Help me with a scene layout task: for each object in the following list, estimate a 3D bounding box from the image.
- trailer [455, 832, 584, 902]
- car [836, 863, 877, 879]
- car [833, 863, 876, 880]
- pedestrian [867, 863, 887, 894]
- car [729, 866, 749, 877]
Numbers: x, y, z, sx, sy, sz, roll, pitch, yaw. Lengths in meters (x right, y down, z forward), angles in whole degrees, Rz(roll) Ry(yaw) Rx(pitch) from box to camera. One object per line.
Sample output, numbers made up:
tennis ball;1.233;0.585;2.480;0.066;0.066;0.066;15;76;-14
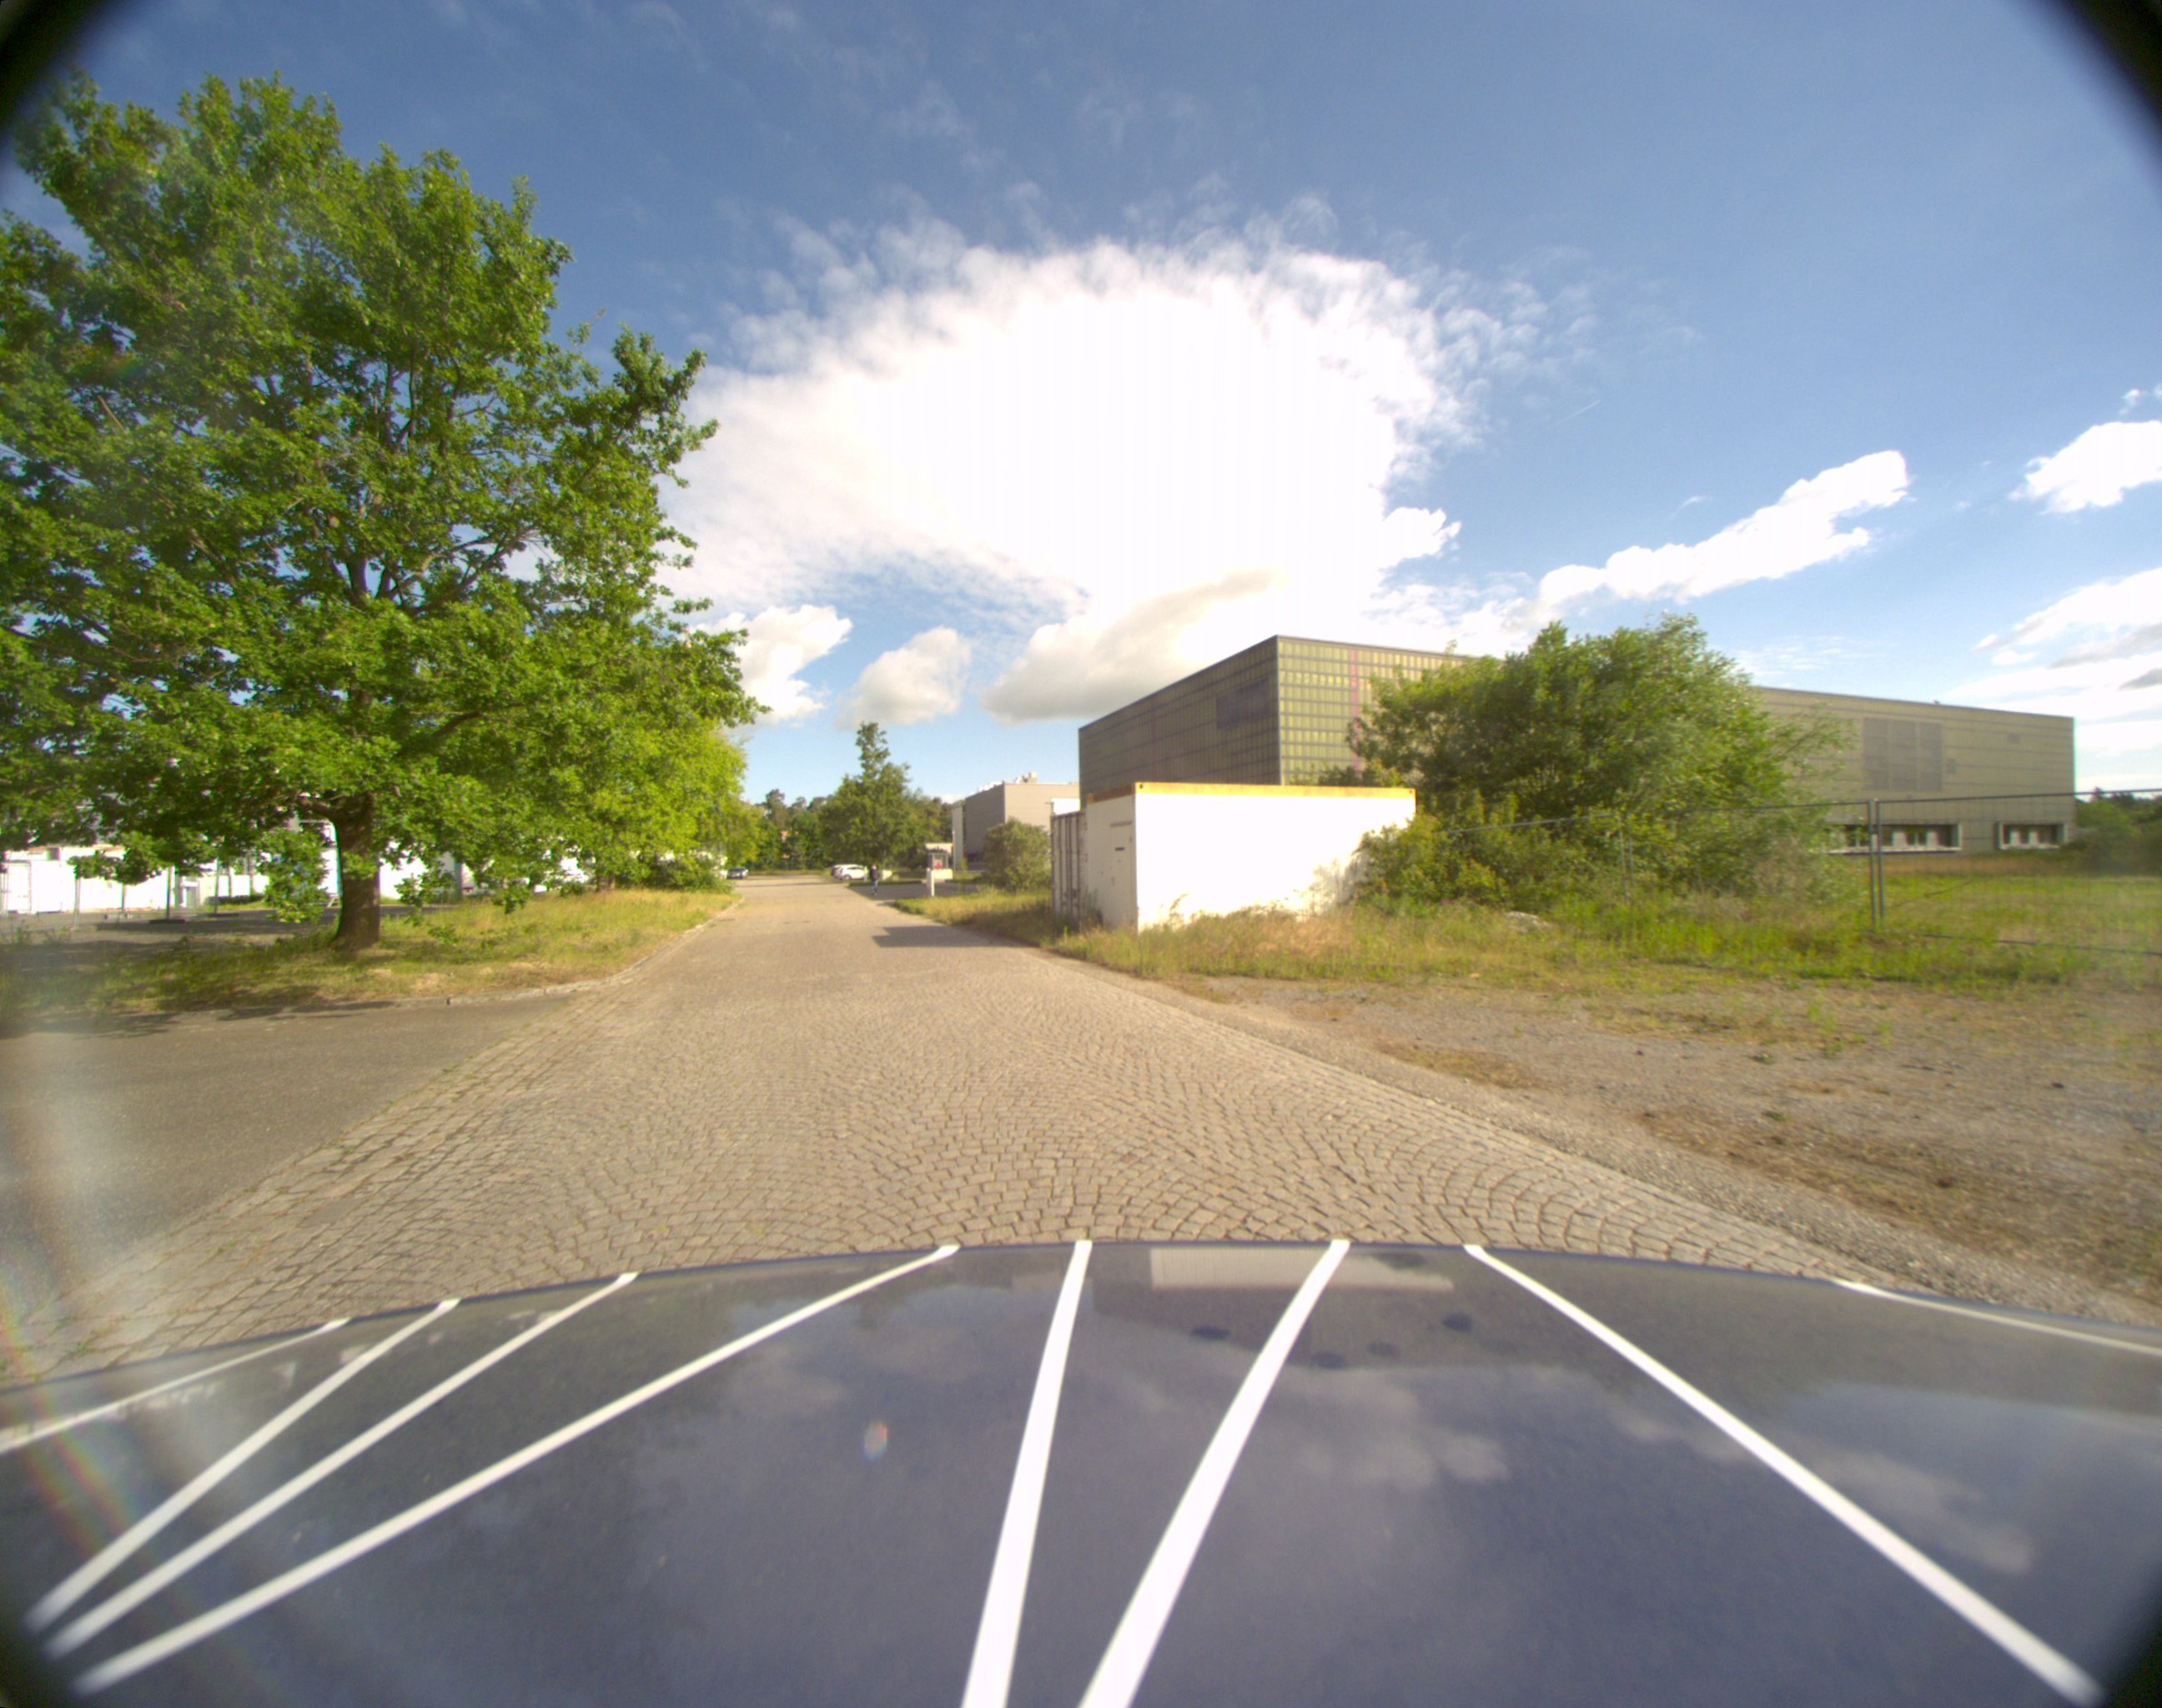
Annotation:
trailer;-31.059;0.672;42.608;2.929;3.450;9.885;-1;0;-19
car;-23.027;1.733;78.129;4.002;1.633;1.997;-1;0;-16
car;-22.452;1.731;75.431;4.002;1.633;1.997;-1;0;-16
pedestrian;-10.548;1.244;39.383;0.868;1.549;1.027;-1;0;-10
car;-42.223;2.154;93.693;2.003;1.363;3.991;-1;0;-27
